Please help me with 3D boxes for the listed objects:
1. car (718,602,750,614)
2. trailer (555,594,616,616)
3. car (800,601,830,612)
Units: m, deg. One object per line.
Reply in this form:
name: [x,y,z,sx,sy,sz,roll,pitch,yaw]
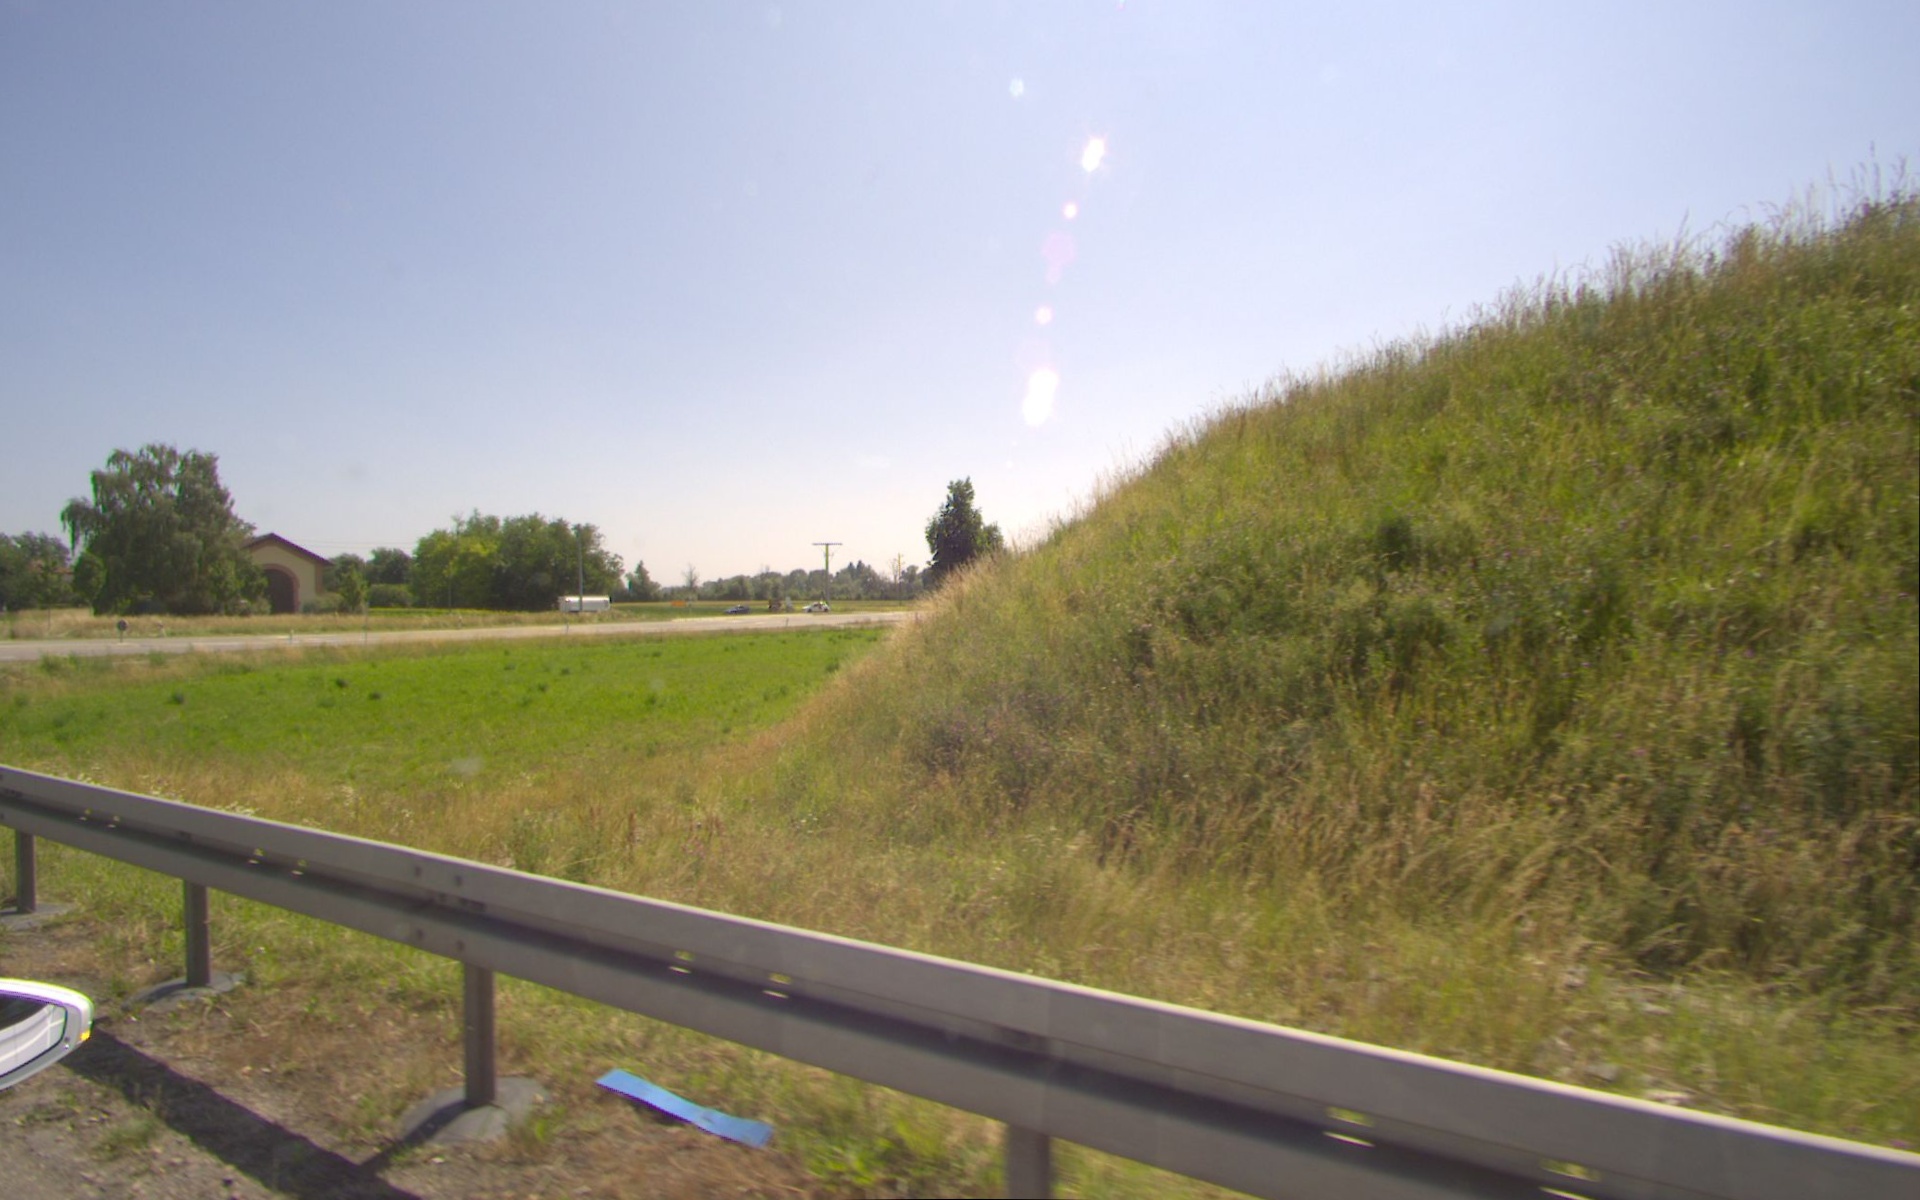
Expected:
car: [-29.571,1.046,131.057,1.659,1.406,3.809,2,1,40]
trailer: [-43.726,0.529,117.151,2.651,2.489,6.339,2,2,36]
car: [-20.358,0.899,140.639,3.965,1.350,1.693,1,1,-15]
